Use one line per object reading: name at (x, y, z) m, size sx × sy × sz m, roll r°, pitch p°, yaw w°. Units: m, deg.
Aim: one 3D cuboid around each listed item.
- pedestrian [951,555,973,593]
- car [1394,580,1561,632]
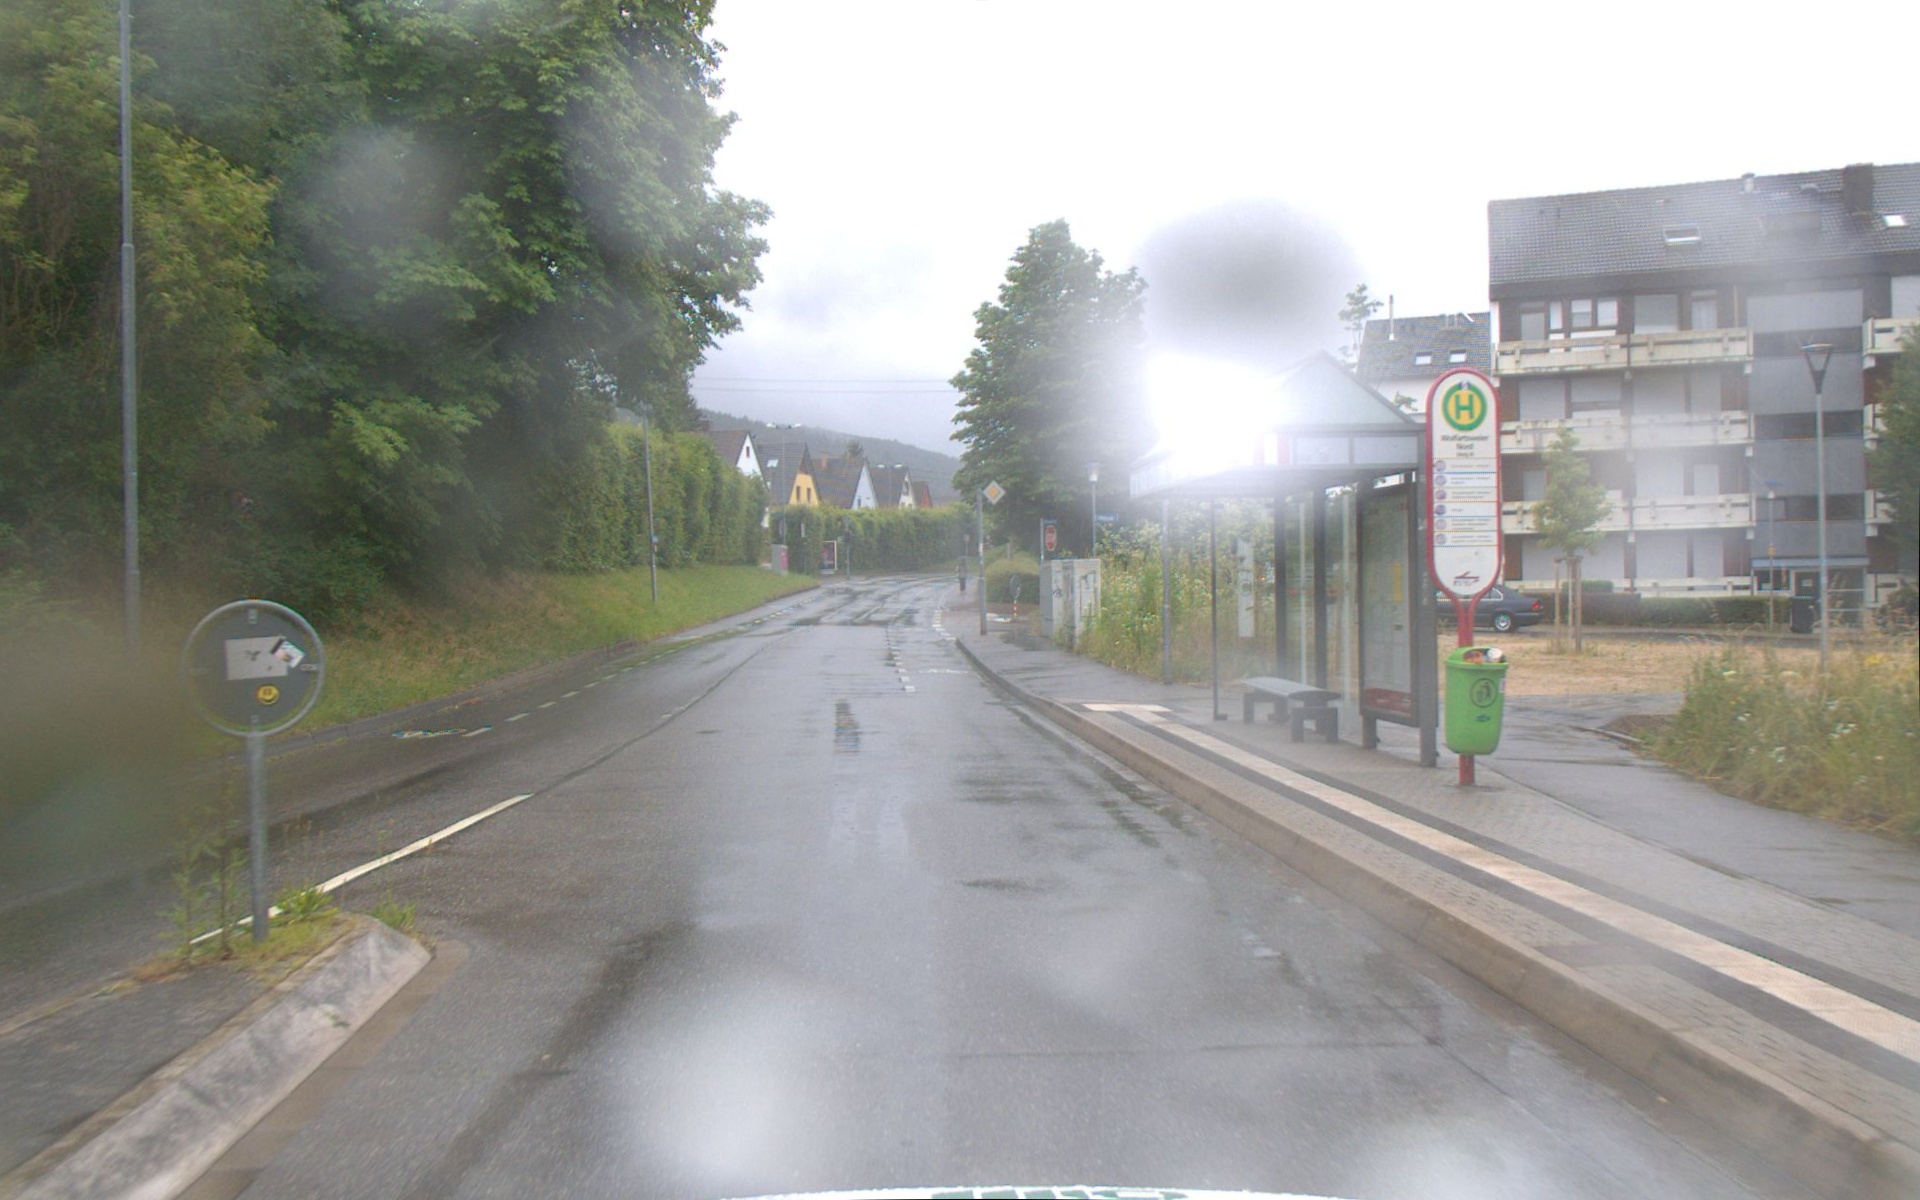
pedestrian at (0.091, -1.216, 75.931) m, size 0.901 × 1.704 × 1.057 m, roll -2°, pitch 1°, yaw 1°
car at (15.249, 0.150, 48.748) m, size 4.508 × 1.412 × 1.946 m, roll 1°, pitch 1°, yaw 24°
